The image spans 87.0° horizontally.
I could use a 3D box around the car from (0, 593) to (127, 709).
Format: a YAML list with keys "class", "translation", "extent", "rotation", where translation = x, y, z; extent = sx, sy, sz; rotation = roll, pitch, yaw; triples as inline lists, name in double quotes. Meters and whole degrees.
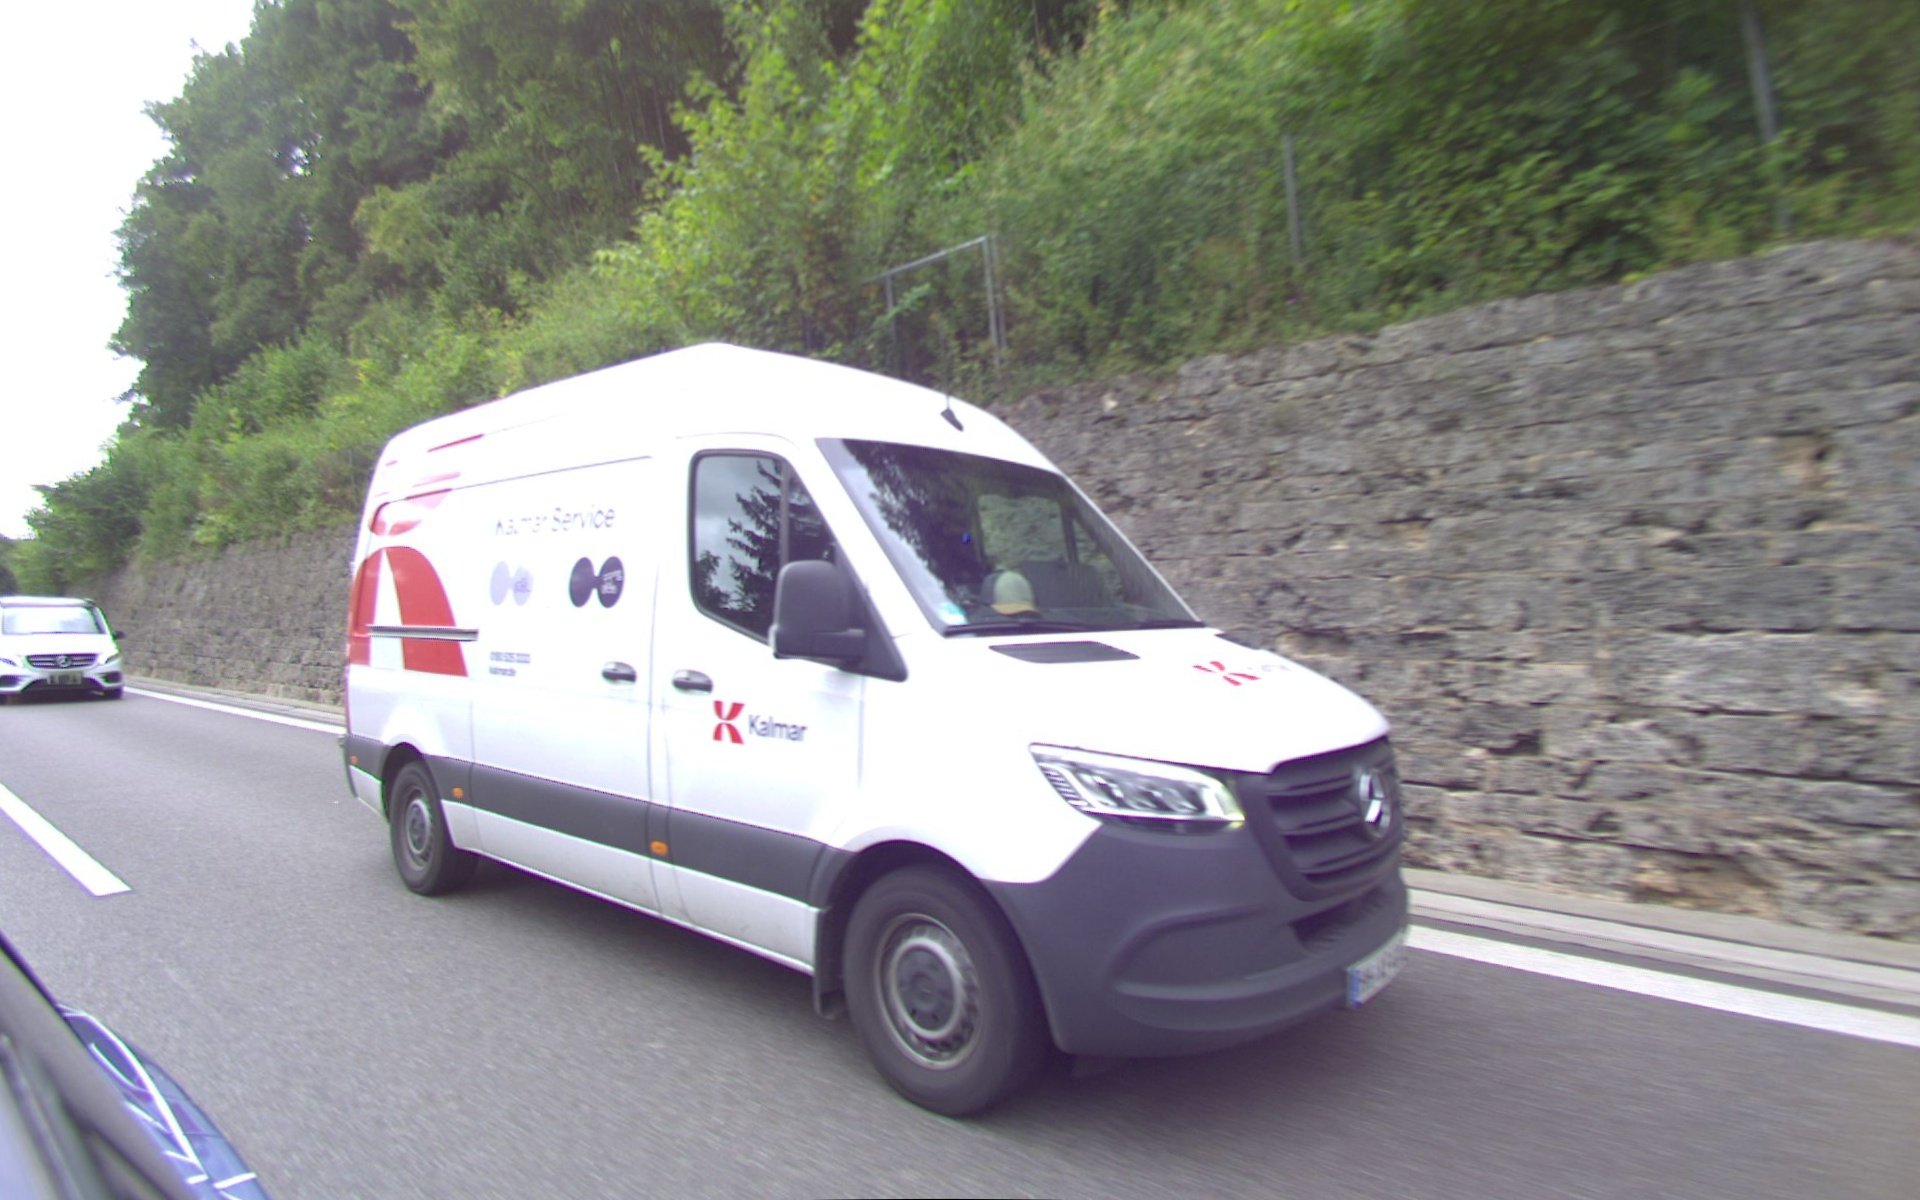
- class: "car"
  translation: [-18.329, 0.930, 20.101]
  extent: [6.148, 1.967, 1.972]
  rotation: [-1, 0, 43]

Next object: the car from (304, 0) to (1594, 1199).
- class: "car"
  translation: [-0.860, 0.177, 4.736]
  extent: [6.270, 2.605, 2.005]
  rotation: [-1, 0, 40]

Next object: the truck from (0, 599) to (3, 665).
- class: "truck"
  translation: [-36.331, 1.204, 36.741]
  extent: [6.587, 2.297, 1.971]
  rotation: [-1, 0, 44]
